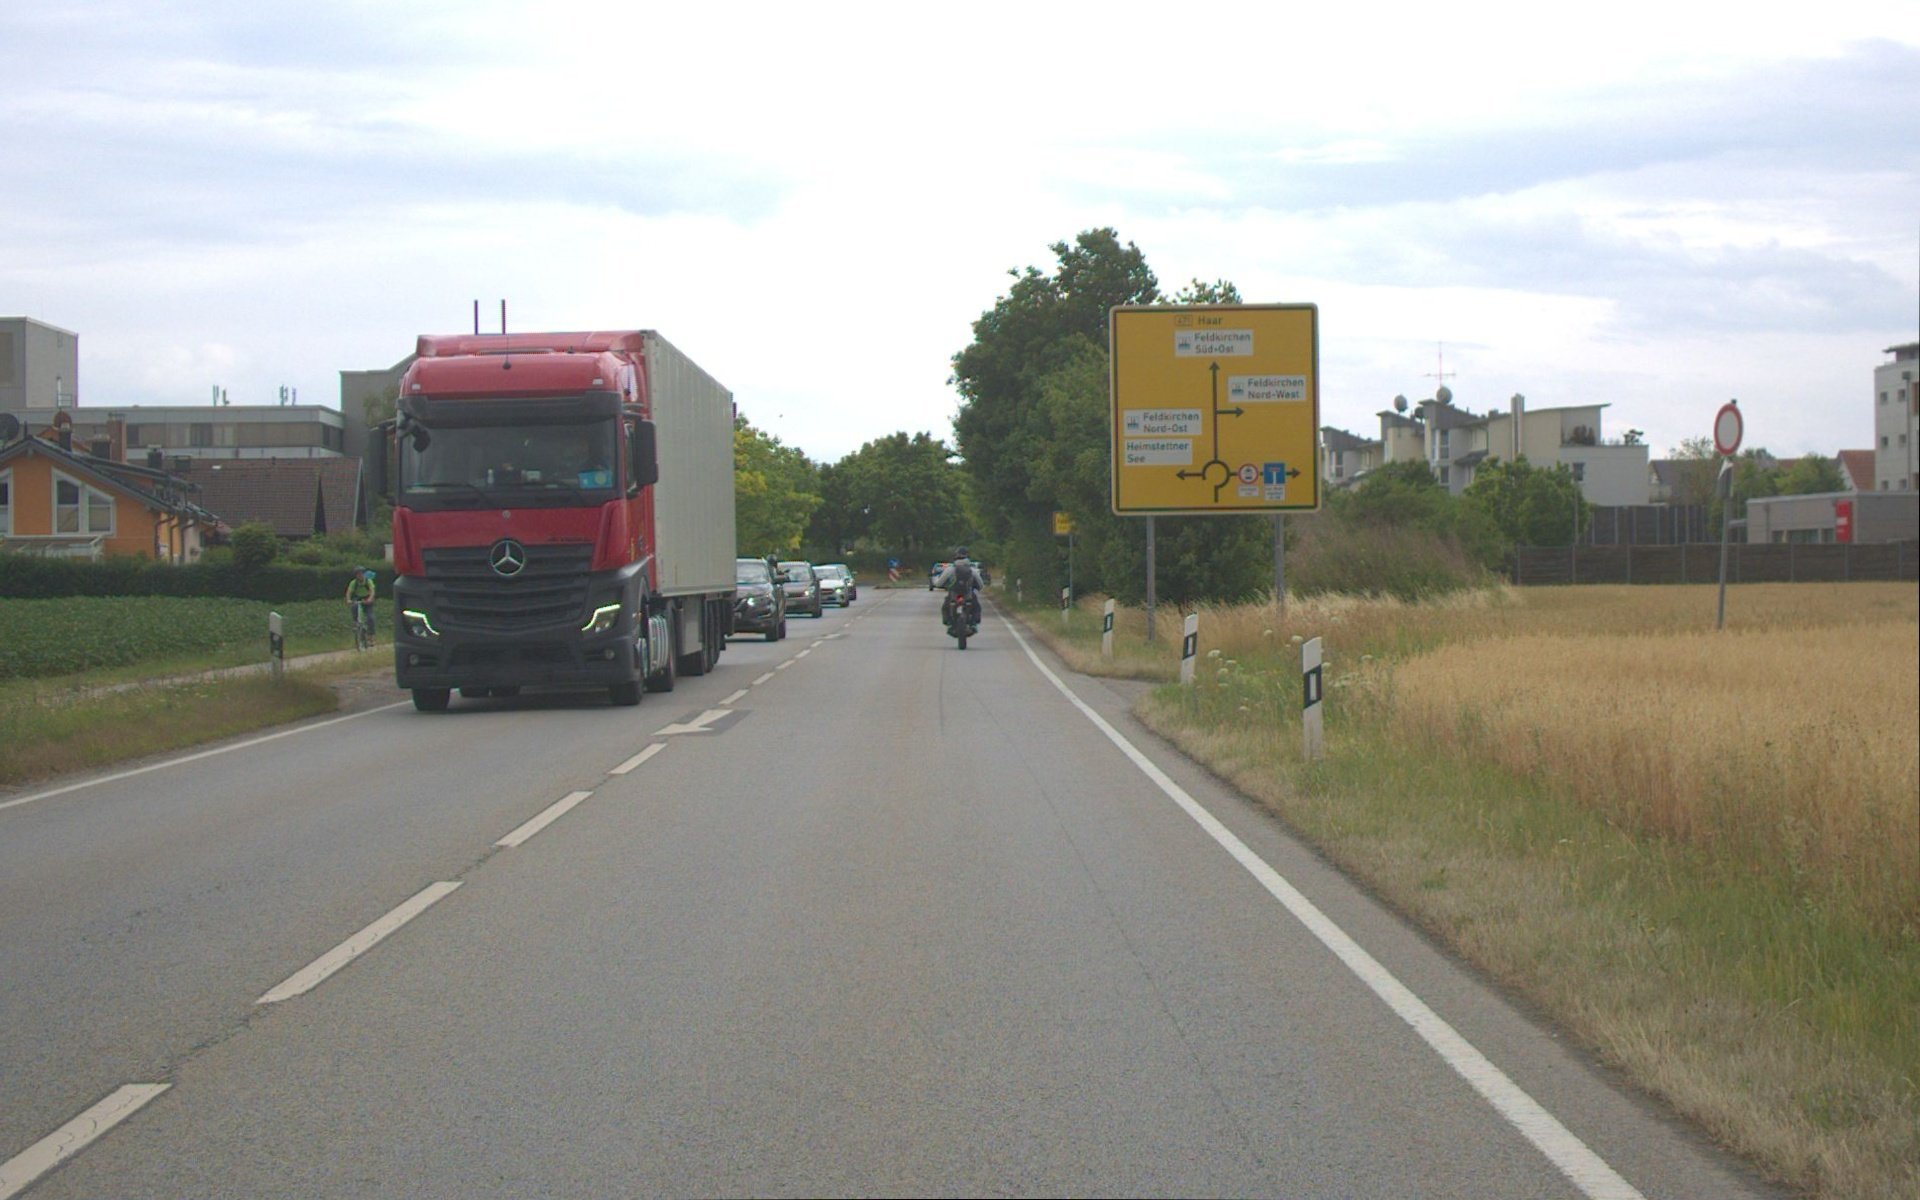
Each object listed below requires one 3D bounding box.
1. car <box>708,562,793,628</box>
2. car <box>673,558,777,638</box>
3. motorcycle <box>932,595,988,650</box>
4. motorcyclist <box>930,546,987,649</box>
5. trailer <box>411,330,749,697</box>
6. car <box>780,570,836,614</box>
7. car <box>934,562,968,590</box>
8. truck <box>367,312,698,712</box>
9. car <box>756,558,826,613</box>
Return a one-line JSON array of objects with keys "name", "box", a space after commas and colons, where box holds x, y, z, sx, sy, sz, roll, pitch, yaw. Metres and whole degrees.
[{"name": "car", "box": [-4.858, -0.135, 80.273, 1.855, 1.467, 4.000, -1, 1, -2]}, {"name": "car", "box": [-4.501, -0.059, 66.286, 1.855, 1.467, 4.000, -1, 1, -2]}, {"name": "motorcycle", "box": [-0.011, 0.381, 59.366, 0.941, 0.887, 2.146, -1, 1, 0]}, {"name": "motorcyclist", "box": [-0.029, -0.043, 59.440, 0.941, 1.744, 1.200, -1, 0, 0]}, {"name": "trailer", "box": [-4.575, -1.017, 44.449, 2.729, 3.932, 13.782, -1, 1, 0]}, {"name": "car", "box": [-5.168, -0.287, 117.460, 1.855, 1.467, 4.000, -1, 1, -2]}, {"name": "car", "box": [-0.507, -1.332, 188.348, 1.855, 1.467, 4.000, -1, 1, 0]}, {"name": "truck", "box": [-4.584, -0.927, 38.193, 2.729, 3.974, 6.816, -1, 1, 0]}, {"name": "car", "box": [-4.679, -0.409, 95.701, 1.855, 1.467, 4.000, -1, 1, -2]}]
